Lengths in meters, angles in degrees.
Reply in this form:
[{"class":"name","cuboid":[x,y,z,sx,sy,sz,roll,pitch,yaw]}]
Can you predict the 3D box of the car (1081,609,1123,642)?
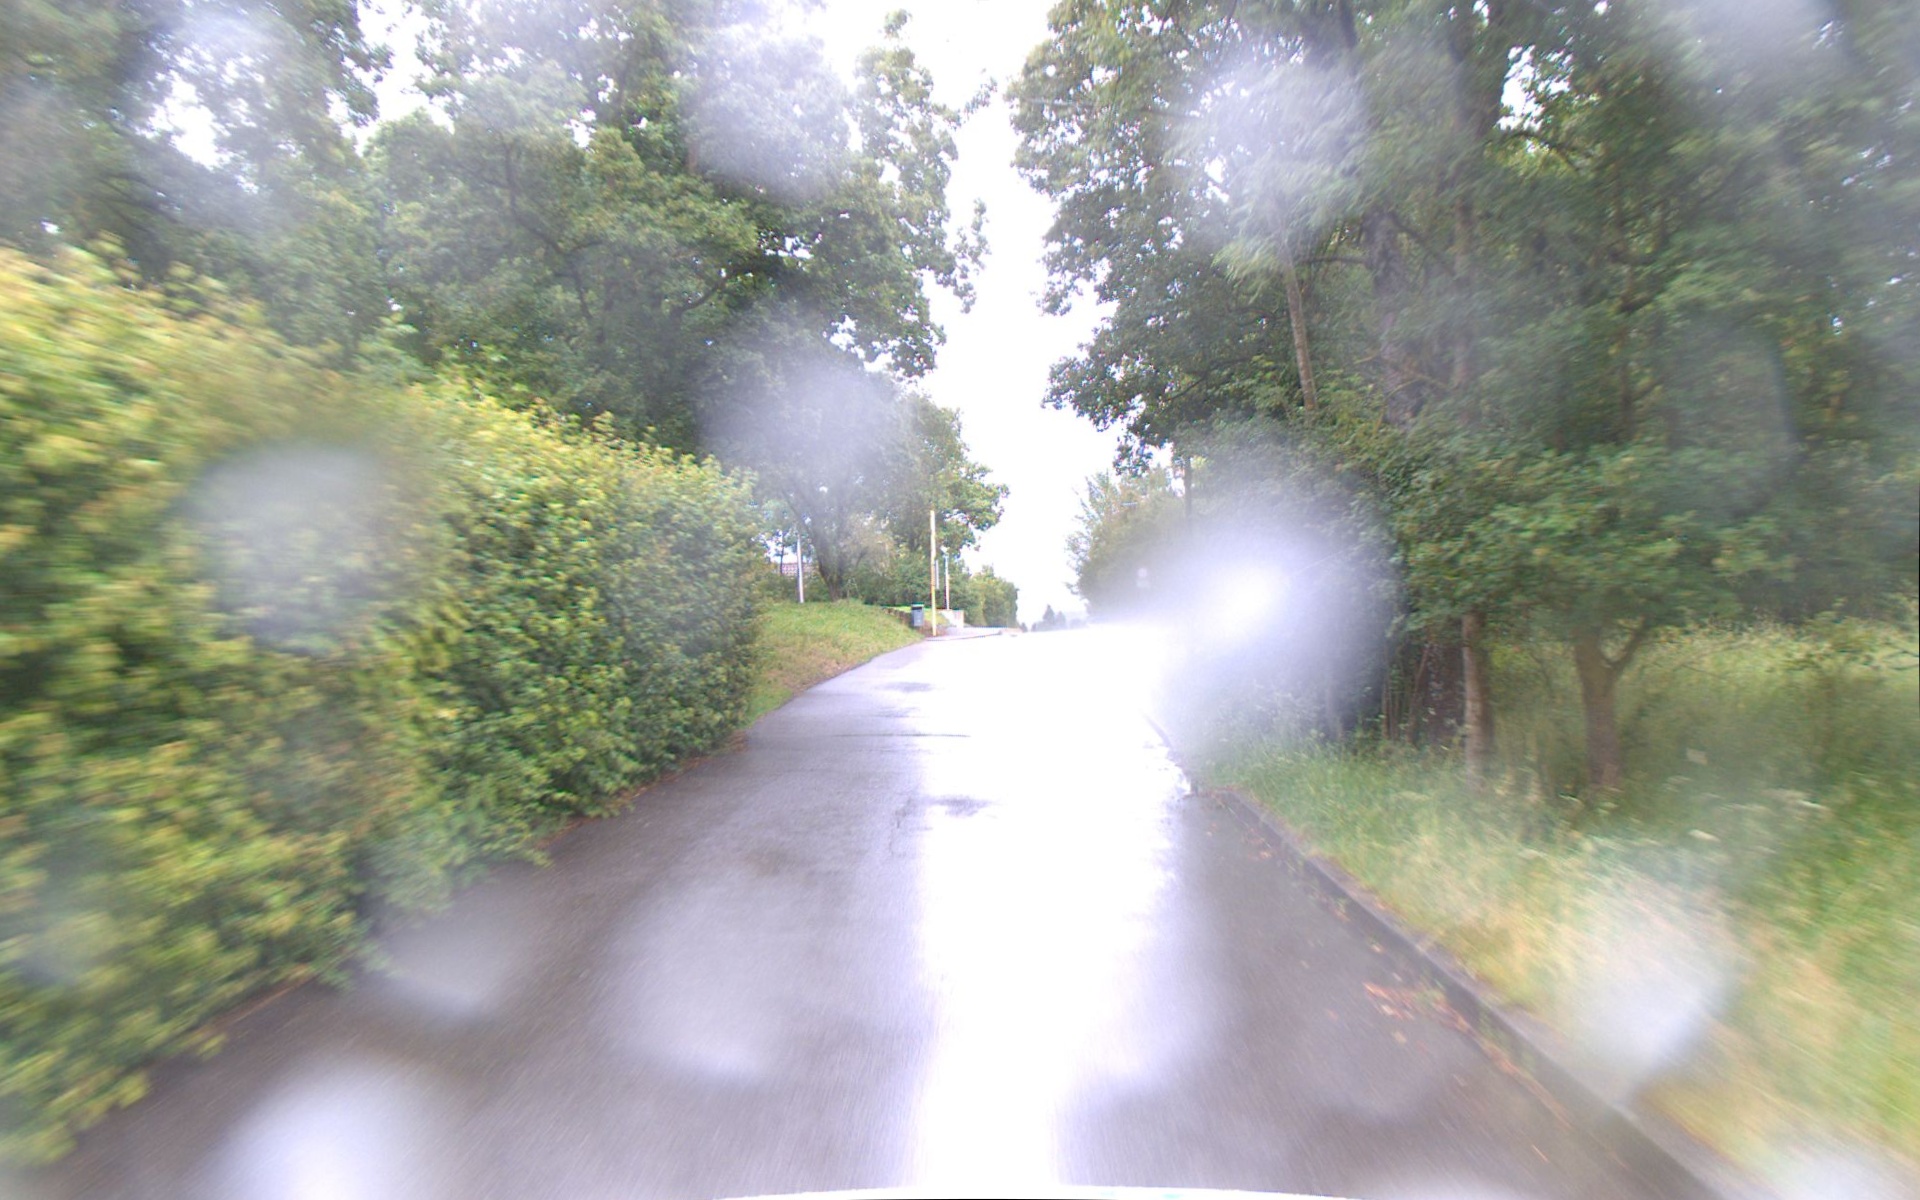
[{"class":"car","cuboid":[7.864,1.452,91.222,1.951,1.611,4.002,-2,-3,9]}]
